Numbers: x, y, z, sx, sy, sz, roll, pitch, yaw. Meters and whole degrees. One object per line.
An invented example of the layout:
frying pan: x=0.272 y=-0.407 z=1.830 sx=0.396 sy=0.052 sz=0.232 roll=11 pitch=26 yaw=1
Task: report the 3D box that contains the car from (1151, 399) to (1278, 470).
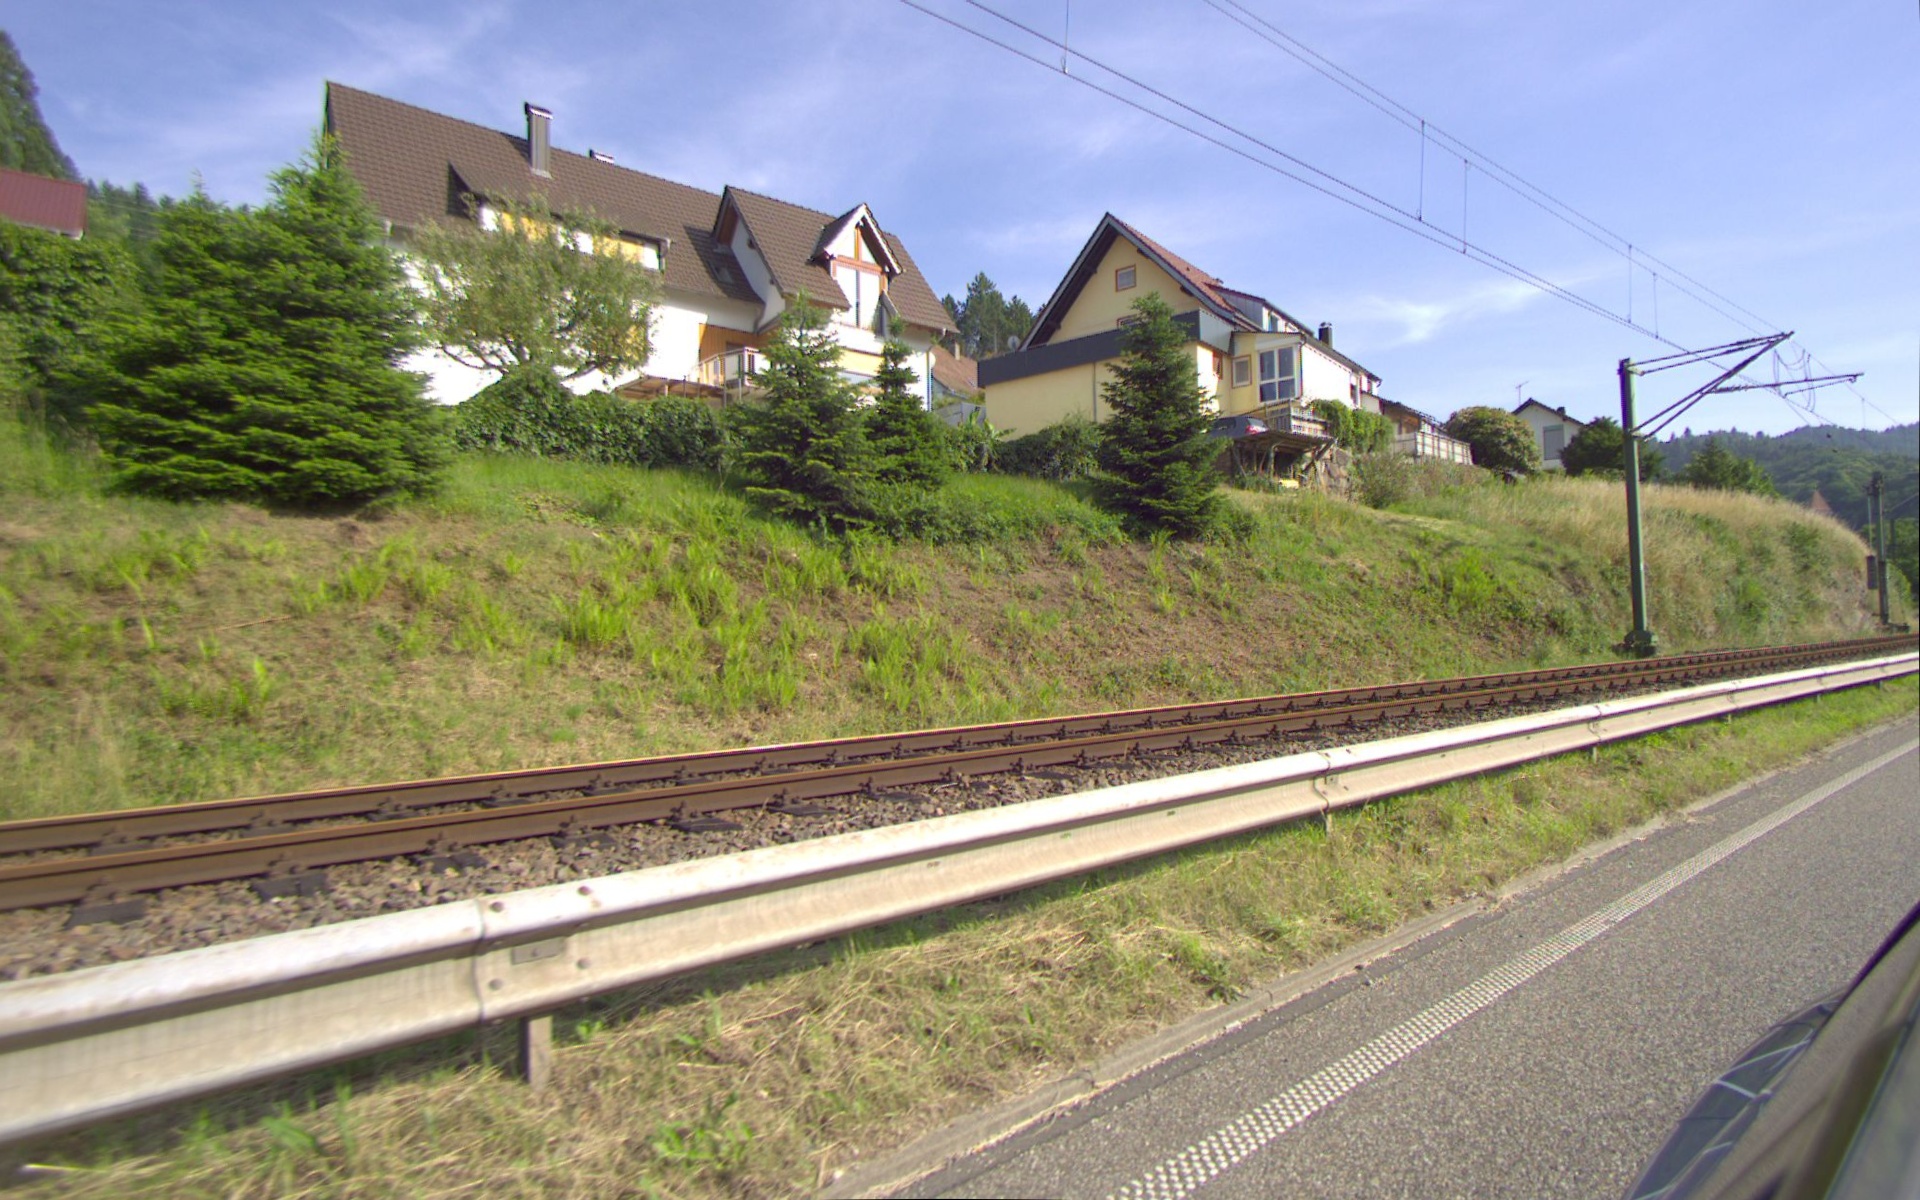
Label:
car: x=8.608 y=-5.571 z=34.417 sx=1.724 sy=1.560 sz=3.740 roll=-2 pitch=-3 yaw=-45
